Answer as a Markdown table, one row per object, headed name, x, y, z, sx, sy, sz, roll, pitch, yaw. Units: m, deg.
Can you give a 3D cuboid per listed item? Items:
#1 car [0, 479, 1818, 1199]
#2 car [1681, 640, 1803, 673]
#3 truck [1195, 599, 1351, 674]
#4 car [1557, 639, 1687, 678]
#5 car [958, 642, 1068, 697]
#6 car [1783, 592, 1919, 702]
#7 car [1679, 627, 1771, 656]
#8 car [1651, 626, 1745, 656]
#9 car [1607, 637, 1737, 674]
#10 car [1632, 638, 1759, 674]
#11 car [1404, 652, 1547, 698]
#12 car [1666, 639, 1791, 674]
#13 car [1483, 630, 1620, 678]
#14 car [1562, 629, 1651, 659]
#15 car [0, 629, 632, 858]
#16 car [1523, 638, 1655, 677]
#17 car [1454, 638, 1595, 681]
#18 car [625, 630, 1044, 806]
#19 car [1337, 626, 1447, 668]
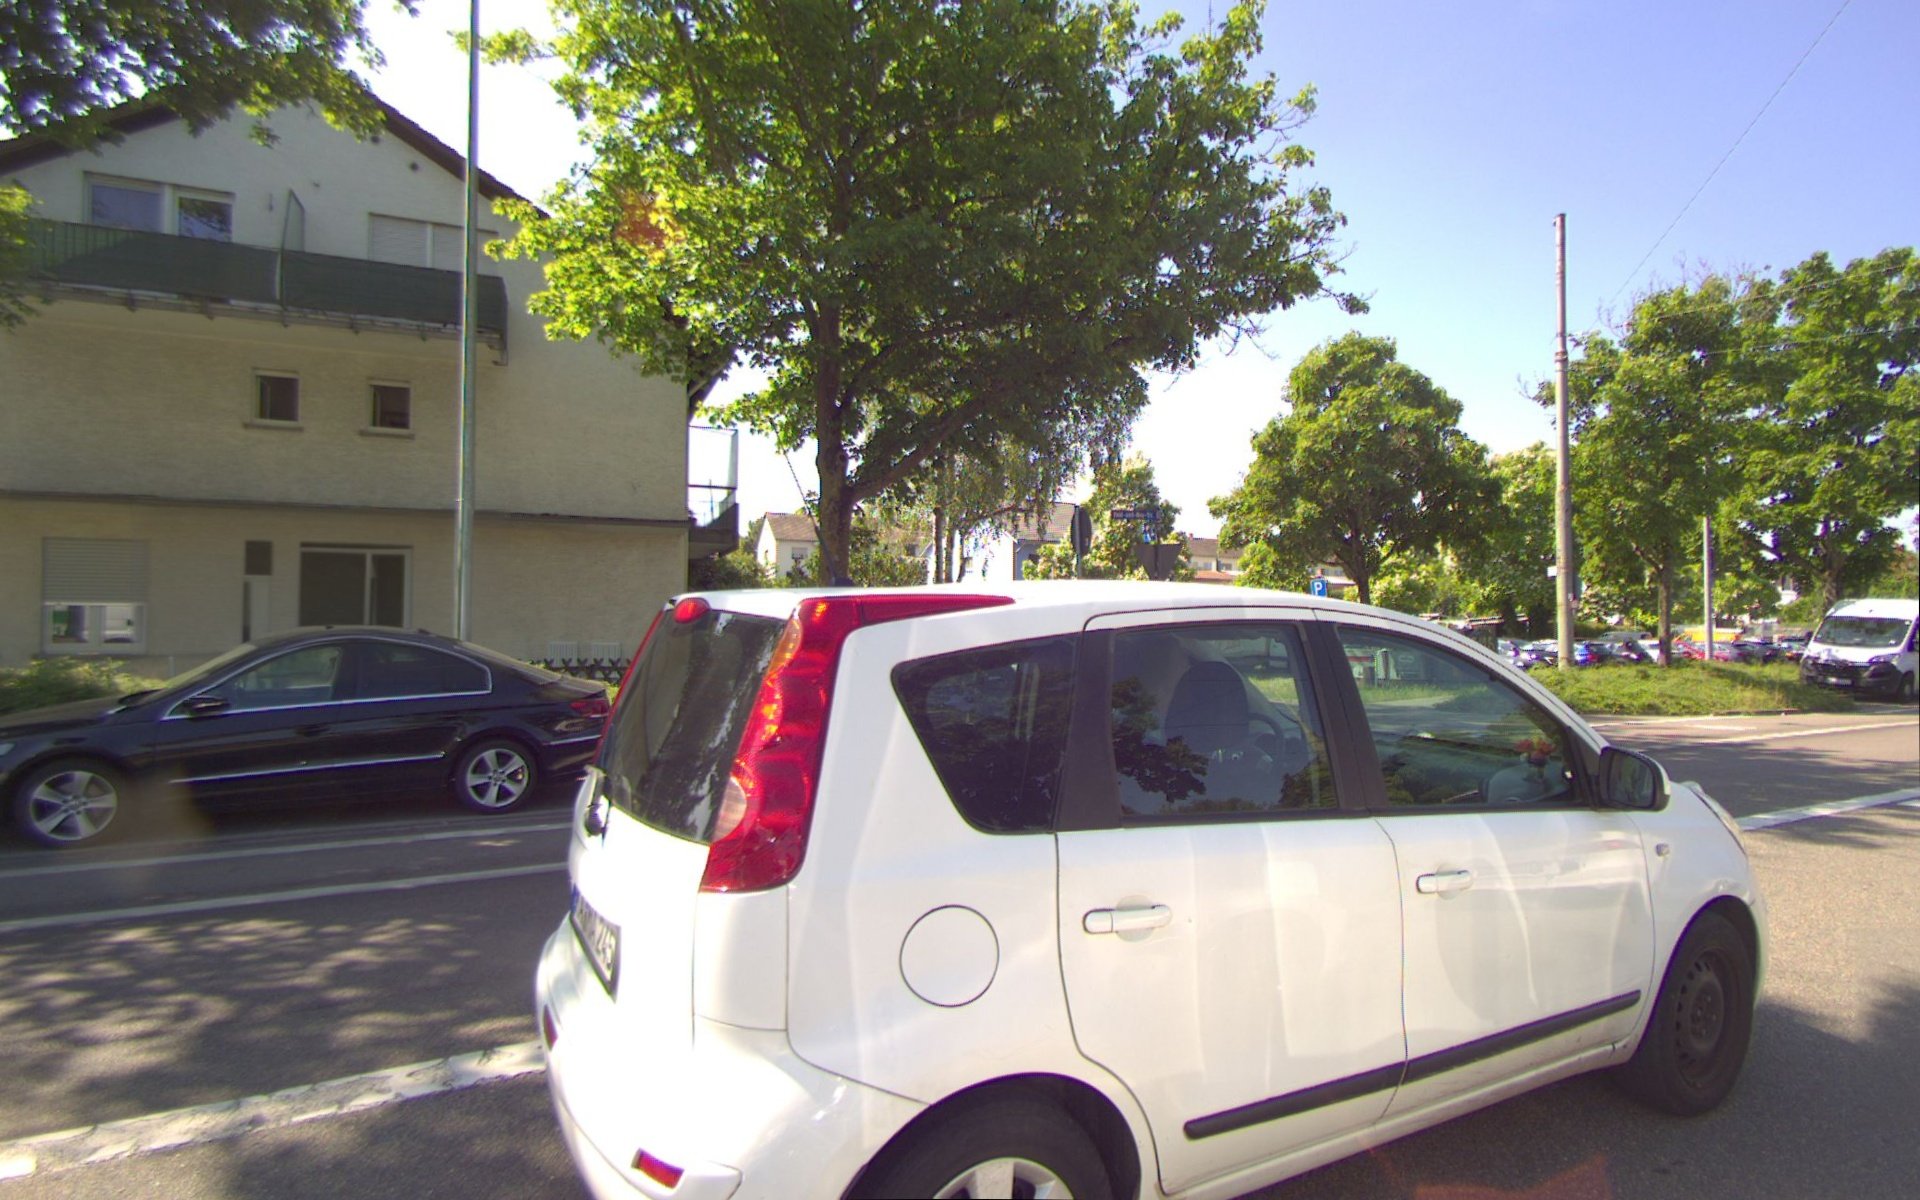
| name | x | y | z | sx | sy | sz | roll | pitch | yaw |
| --- | --- | --- | --- | --- | --- | --- | --- | --- | --- |
| car | 0.458 | 0.707 | 2.857 | 4.493 | 1.568 | 1.654 | 1 | -1 | -30 |
| car | 34.915 | 2.536 | 44.956 | 1.712 | 1.434 | 3.964 | 2 | -4 | -33 |
| truck | 14.411 | 1.590 | 46.831 | 2.646 | 3.151 | 6.967 | 1 | 0 | -30 |
| car | 26.346 | 2.333 | 40.088 | 1.712 | 1.434 | 3.964 | 2 | -4 | -33 |
| car | 1.412 | 1.937 | 28.436 | 1.704 | 1.434 | 3.983 | 1 | -3 | -20 |
| car | 23.787 | 1.145 | 25.767 | 5.745 | 2.550 | 2.114 | 1 | 0 | -29 |
| car | 54.420 | 2.911 | 71.536 | 2.043 | 1.811 | 4.762 | 2 | 0 | -34 |
| car | 50.468 | 2.777 | 68.758 | 2.043 | 1.811 | 4.762 | 2 | 0 | -34 |
| car | 28.824 | 2.248 | 40.775 | 1.712 | 1.434 | 3.964 | 2 | -4 | -33 |
| car | 30.735 | 2.338 | 42.076 | 1.712 | 1.434 | 3.964 | 2 | -4 | -33 |
| car | 17.317 | 2.493 | 33.892 | 1.712 | 1.434 | 3.964 | 2 | -4 | -33 |
| car | 33.157 | 2.451 | 43.445 | 1.712 | 1.434 | 3.964 | 2 | -4 | -33 |
| car | 21.409 | 1.975 | 36.500 | 1.712 | 1.631 | 3.964 | 2 | -4 | -33 |
| car | 44.513 | 2.994 | 69.288 | 2.043 | 1.811 | 4.762 | 2 | 0 | -34 |
| car | -5.269 | 1.006 | 8.323 | 4.568 | 1.434 | 1.854 | 1 | 0 | -31 |
| car | 24.165 | 2.217 | 38.707 | 1.712 | 1.434 | 3.964 | 2 | -4 | -33 |
| car | 19.639 | 2.077 | 35.080 | 1.712 | 1.434 | 3.964 | 2 | -4 | -33 |
| car | -1.279 | 1.097 | 10.476 | 3.988 | 1.462 | 1.718 | 1 | 0 | -28 |
| car | 21.752 | 2.331 | 50.746 | 2.043 | 1.811 | 4.762 | 2 | 0 | -34 |
